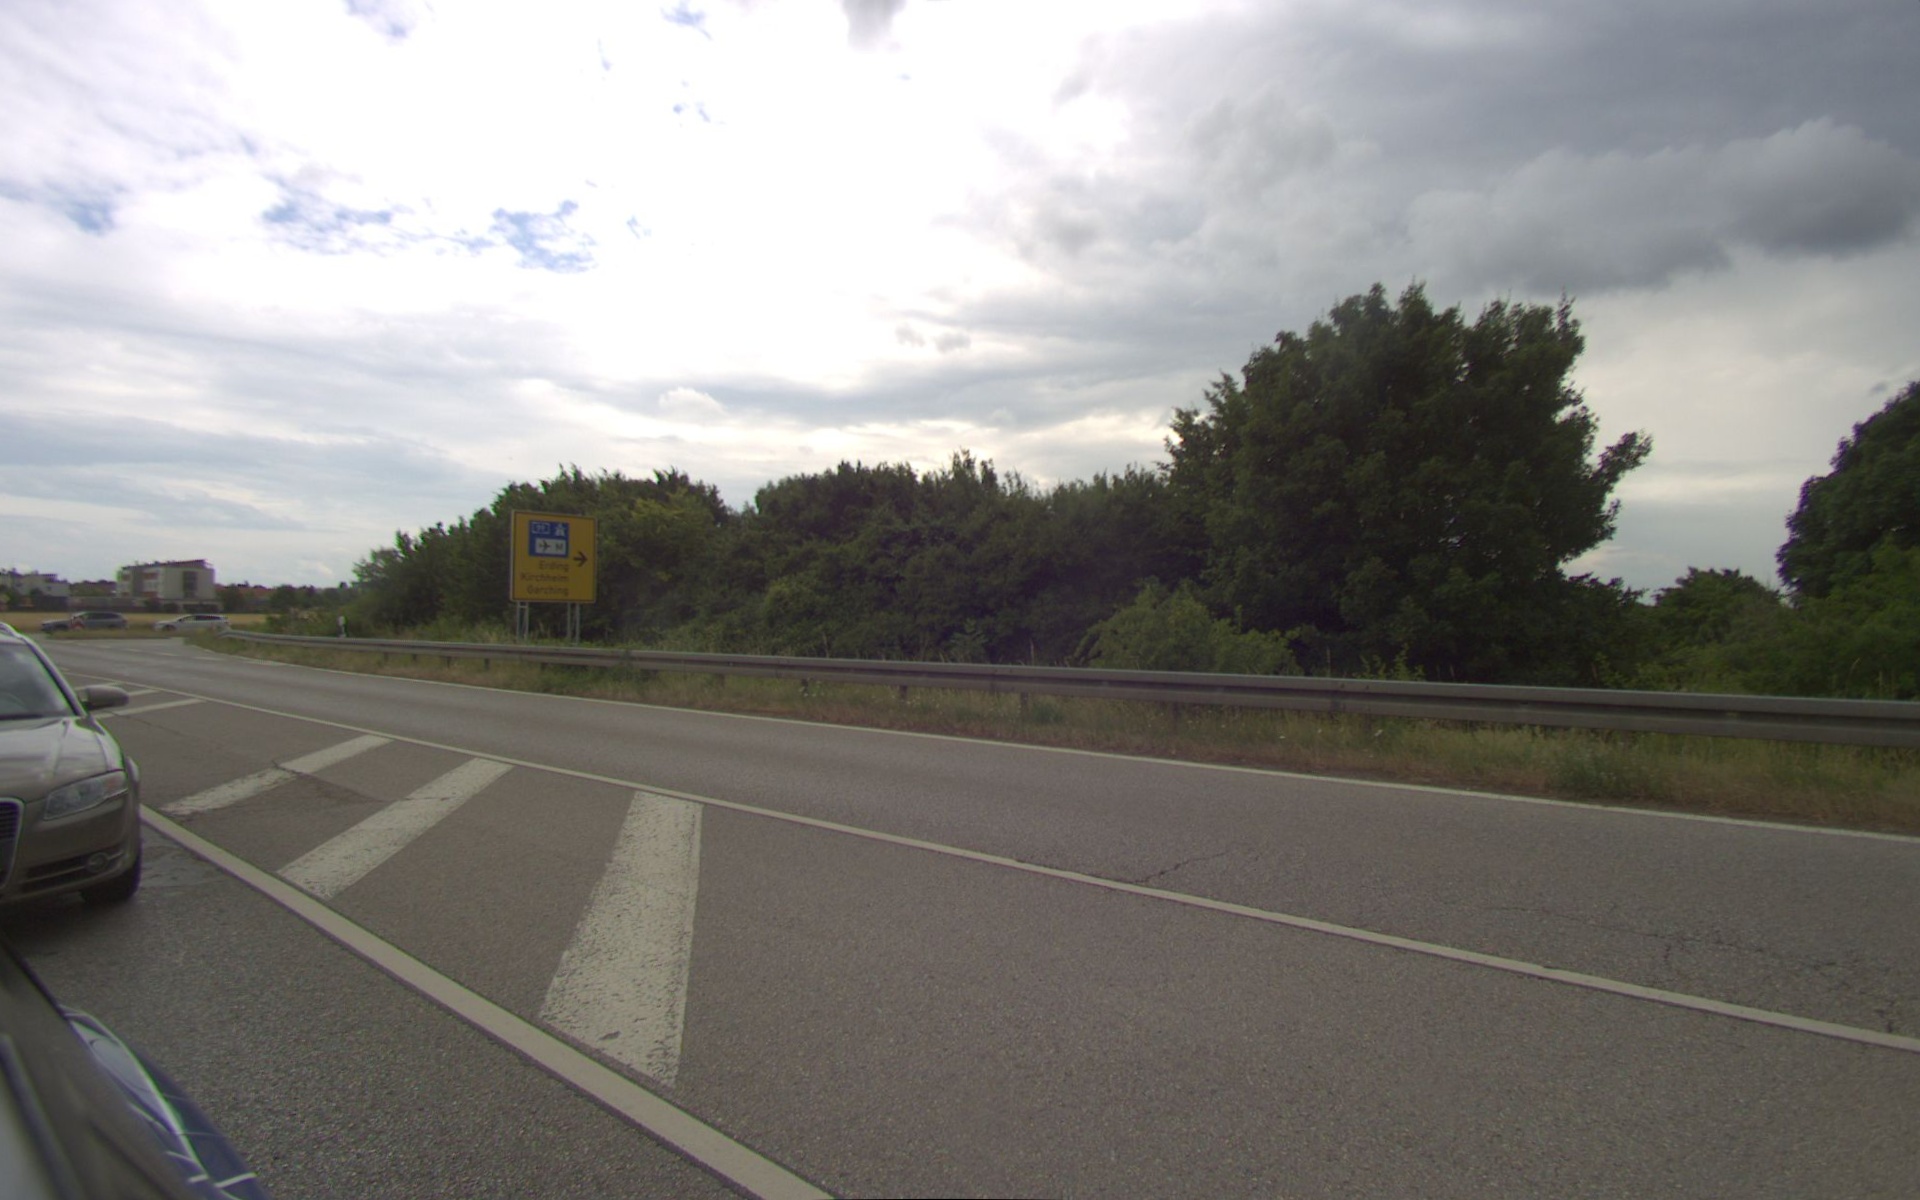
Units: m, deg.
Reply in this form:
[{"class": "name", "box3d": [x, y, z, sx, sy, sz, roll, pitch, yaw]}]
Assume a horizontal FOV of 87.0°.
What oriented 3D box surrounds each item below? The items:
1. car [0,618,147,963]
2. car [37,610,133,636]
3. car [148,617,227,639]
[{"class": "car", "box3d": [-5.874, 0.829, 5.380, 4.202, 1.455, 1.708, -1, -1, 41]}, {"class": "car", "box3d": [-61.043, 1.580, 70.651, 1.997, 1.702, 4.757, -1, -1, 37]}, {"class": "car", "box3d": [-57.229, 2.039, 74.994, 4.605, 1.510, 2.004, 0, -1, -40]}]
